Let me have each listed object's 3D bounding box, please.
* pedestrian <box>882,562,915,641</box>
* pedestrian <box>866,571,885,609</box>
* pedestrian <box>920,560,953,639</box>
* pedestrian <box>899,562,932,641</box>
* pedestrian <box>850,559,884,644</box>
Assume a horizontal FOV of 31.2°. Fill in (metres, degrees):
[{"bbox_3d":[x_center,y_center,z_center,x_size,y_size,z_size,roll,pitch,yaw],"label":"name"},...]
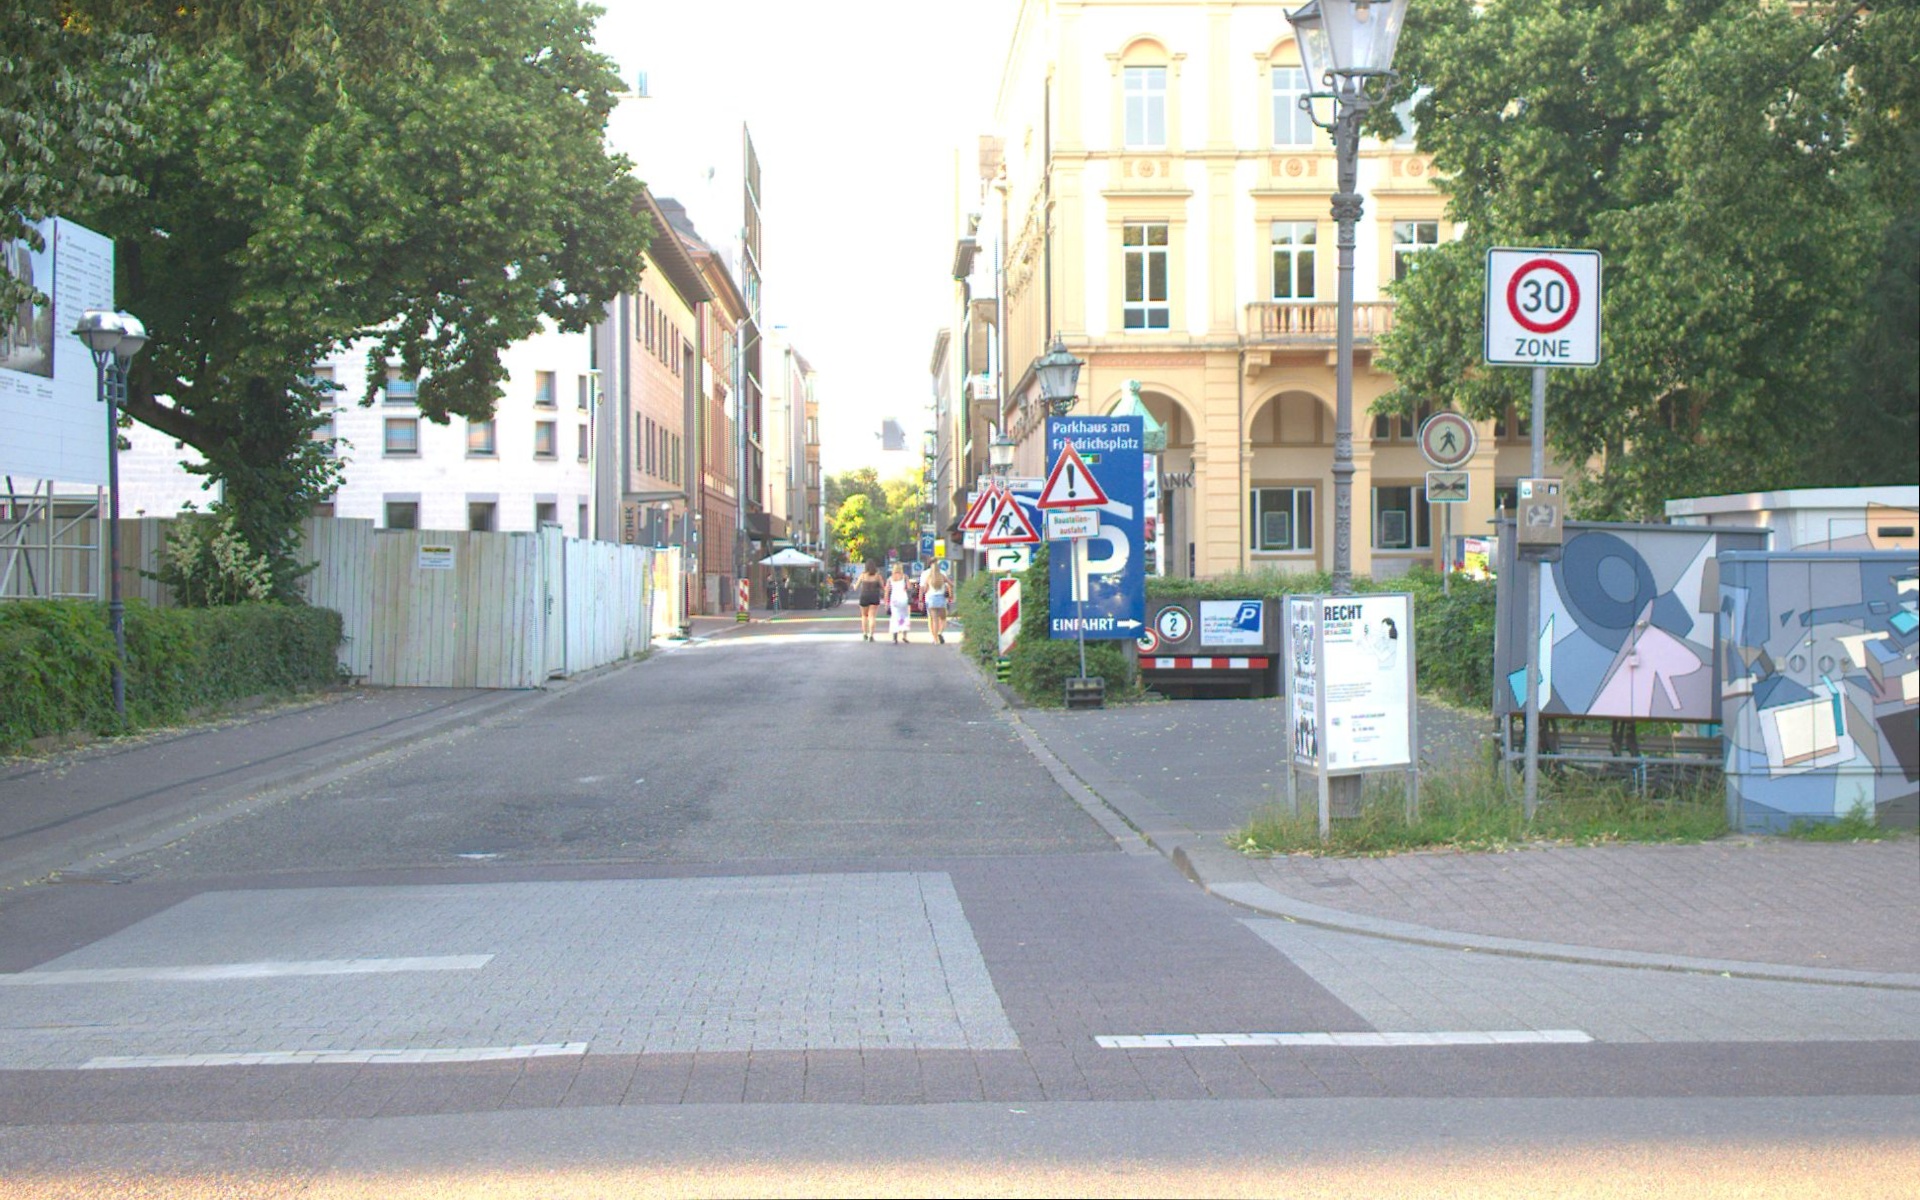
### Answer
[{"bbox_3d":[-1.273,0.032,71.140,0.657,1.611,0.745,-1,0,-1],"label":"pedestrian"},{"bbox_3d":[-4.135,-0.495,168.487,0.742,1.828,0.762,-1,0,-12],"label":"pedestrian"},{"bbox_3d":[-0.490,-0.009,71.212,0.657,1.611,0.745,-1,0,-1],"label":"pedestrian"},{"bbox_3d":[-0.937,0.026,72.510,0.657,1.630,0.745,-1,0,-1],"label":"pedestrian"},{"bbox_3d":[-1.955,0.029,72.346,0.657,1.754,0.745,-1,0,-1],"label":"pedestrian"}]
